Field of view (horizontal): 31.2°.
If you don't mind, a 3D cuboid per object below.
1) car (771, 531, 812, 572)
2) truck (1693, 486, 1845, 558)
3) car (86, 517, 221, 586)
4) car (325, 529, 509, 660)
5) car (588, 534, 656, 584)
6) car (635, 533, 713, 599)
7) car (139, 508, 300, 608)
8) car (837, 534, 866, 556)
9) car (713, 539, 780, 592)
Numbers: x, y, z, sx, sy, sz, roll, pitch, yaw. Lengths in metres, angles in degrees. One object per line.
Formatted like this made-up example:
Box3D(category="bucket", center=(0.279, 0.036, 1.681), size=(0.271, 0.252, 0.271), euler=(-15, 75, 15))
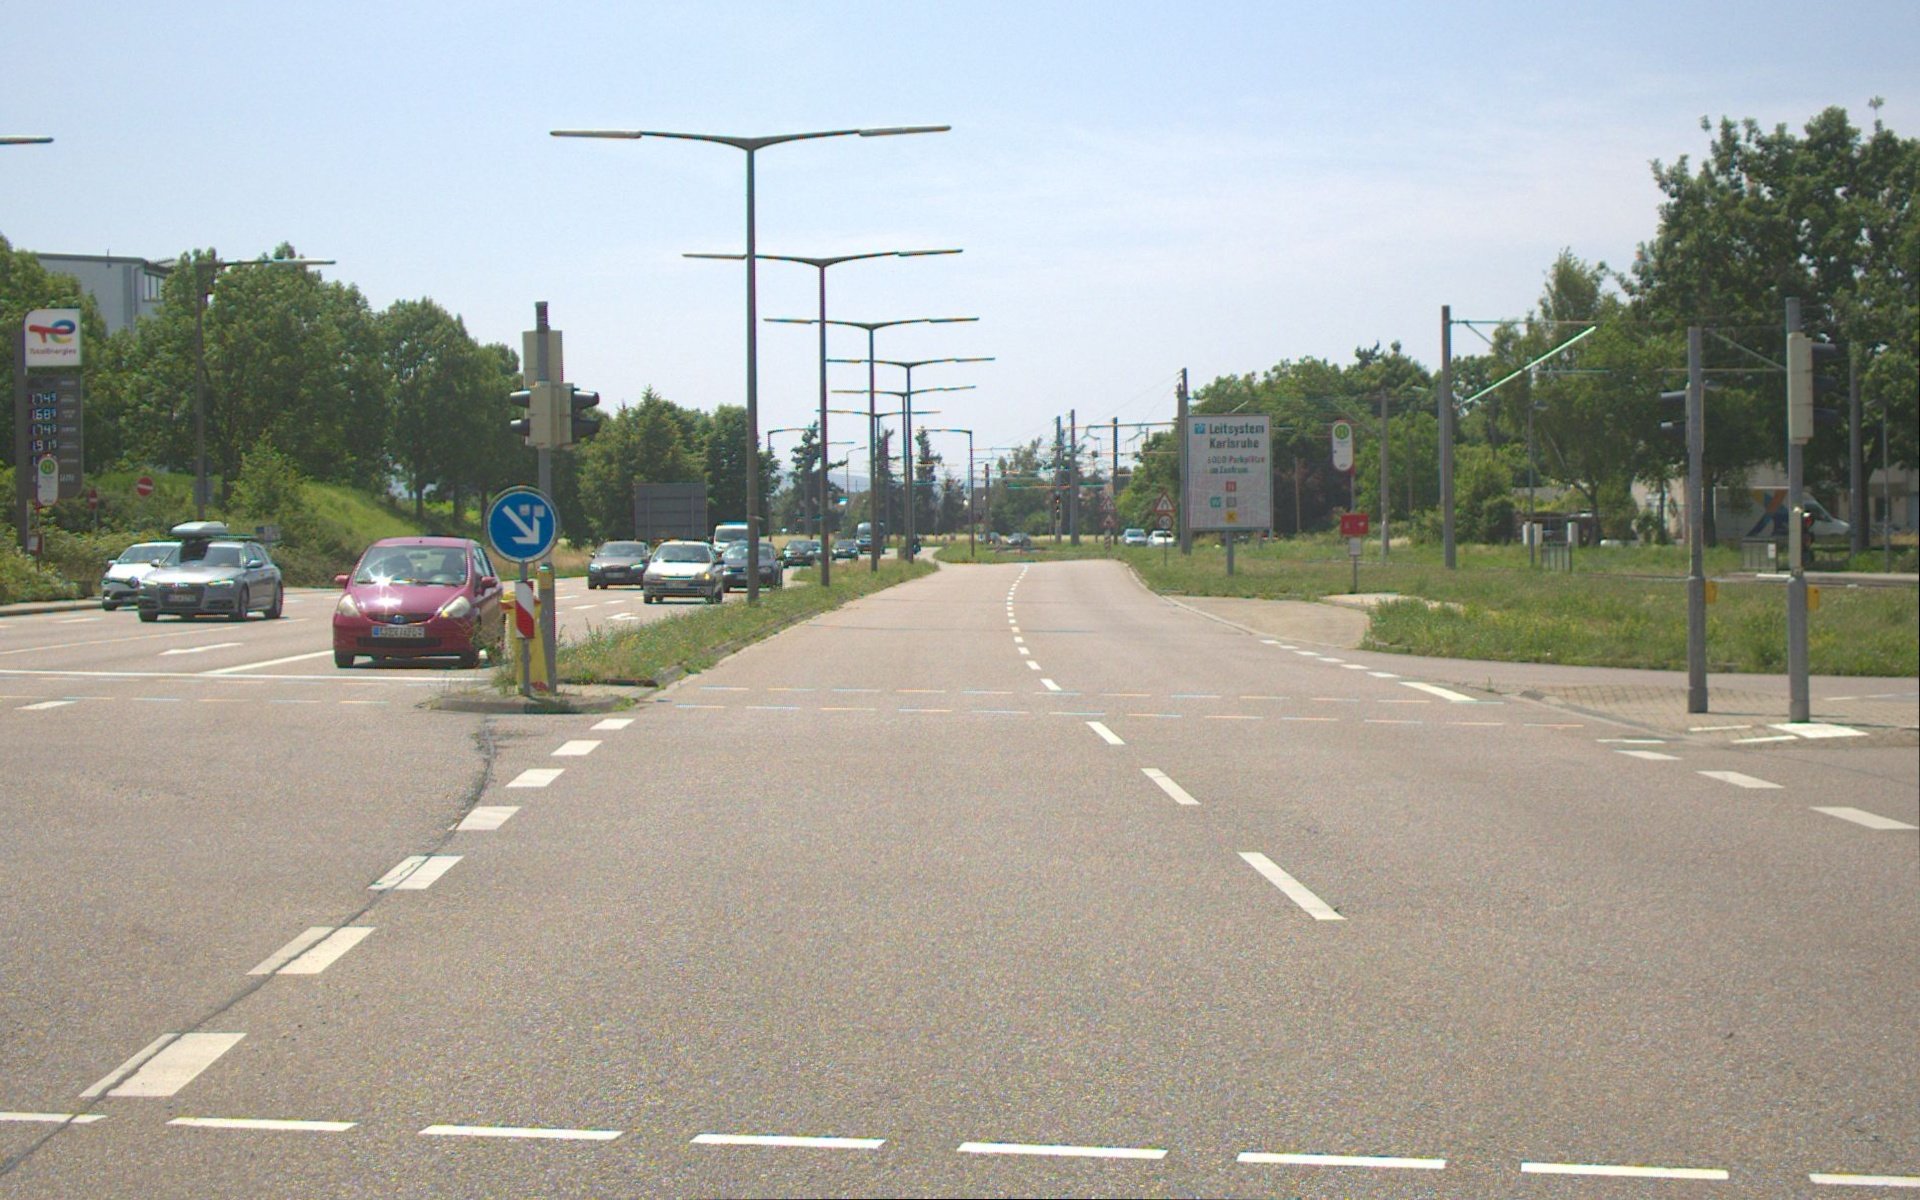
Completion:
Box3D(category="car", center=(-8.510, -2.450, 173.335), size=(1.993, 2.007, 4.001), euler=(1, 0, -4))
Box3D(category="truck", center=(34.717, -3.339, 147.627), size=(5.839, 2.833, 2.321), euler=(-2, 1, -7))
Box3D(category="car", center=(-17.428, -1.037, 74.439), size=(1.823, 1.444, 3.827), euler=(0, 1, 3))
Box3D(category="car", center=(-6.462, -0.102, 41.275), size=(1.658, 1.485, 4.000), euler=(0, 1, -1))
Box3D(category="car", center=(-9.980, -1.218, 101.709), size=(1.637, 1.424, 4.052), euler=(0, 1, 0))
Box3D(category="car", center=(-6.562, -0.795, 79.123), size=(1.560, 1.418, 3.854), euler=(0, 2, -1))
Box3D(category="car", center=(-13.508, -0.792, 62.962), size=(1.964, 1.744, 5.023), euler=(0, 1, -1))
Box3D(category="car", center=(-7.660, -3.900, 243.295), size=(1.731, 1.453, 4.564), euler=(-1, 1, 3))
Box3D(category="car", center=(-5.956, -0.984, 96.280), size=(1.675, 1.429, 4.191), euler=(0, 1, -1))
